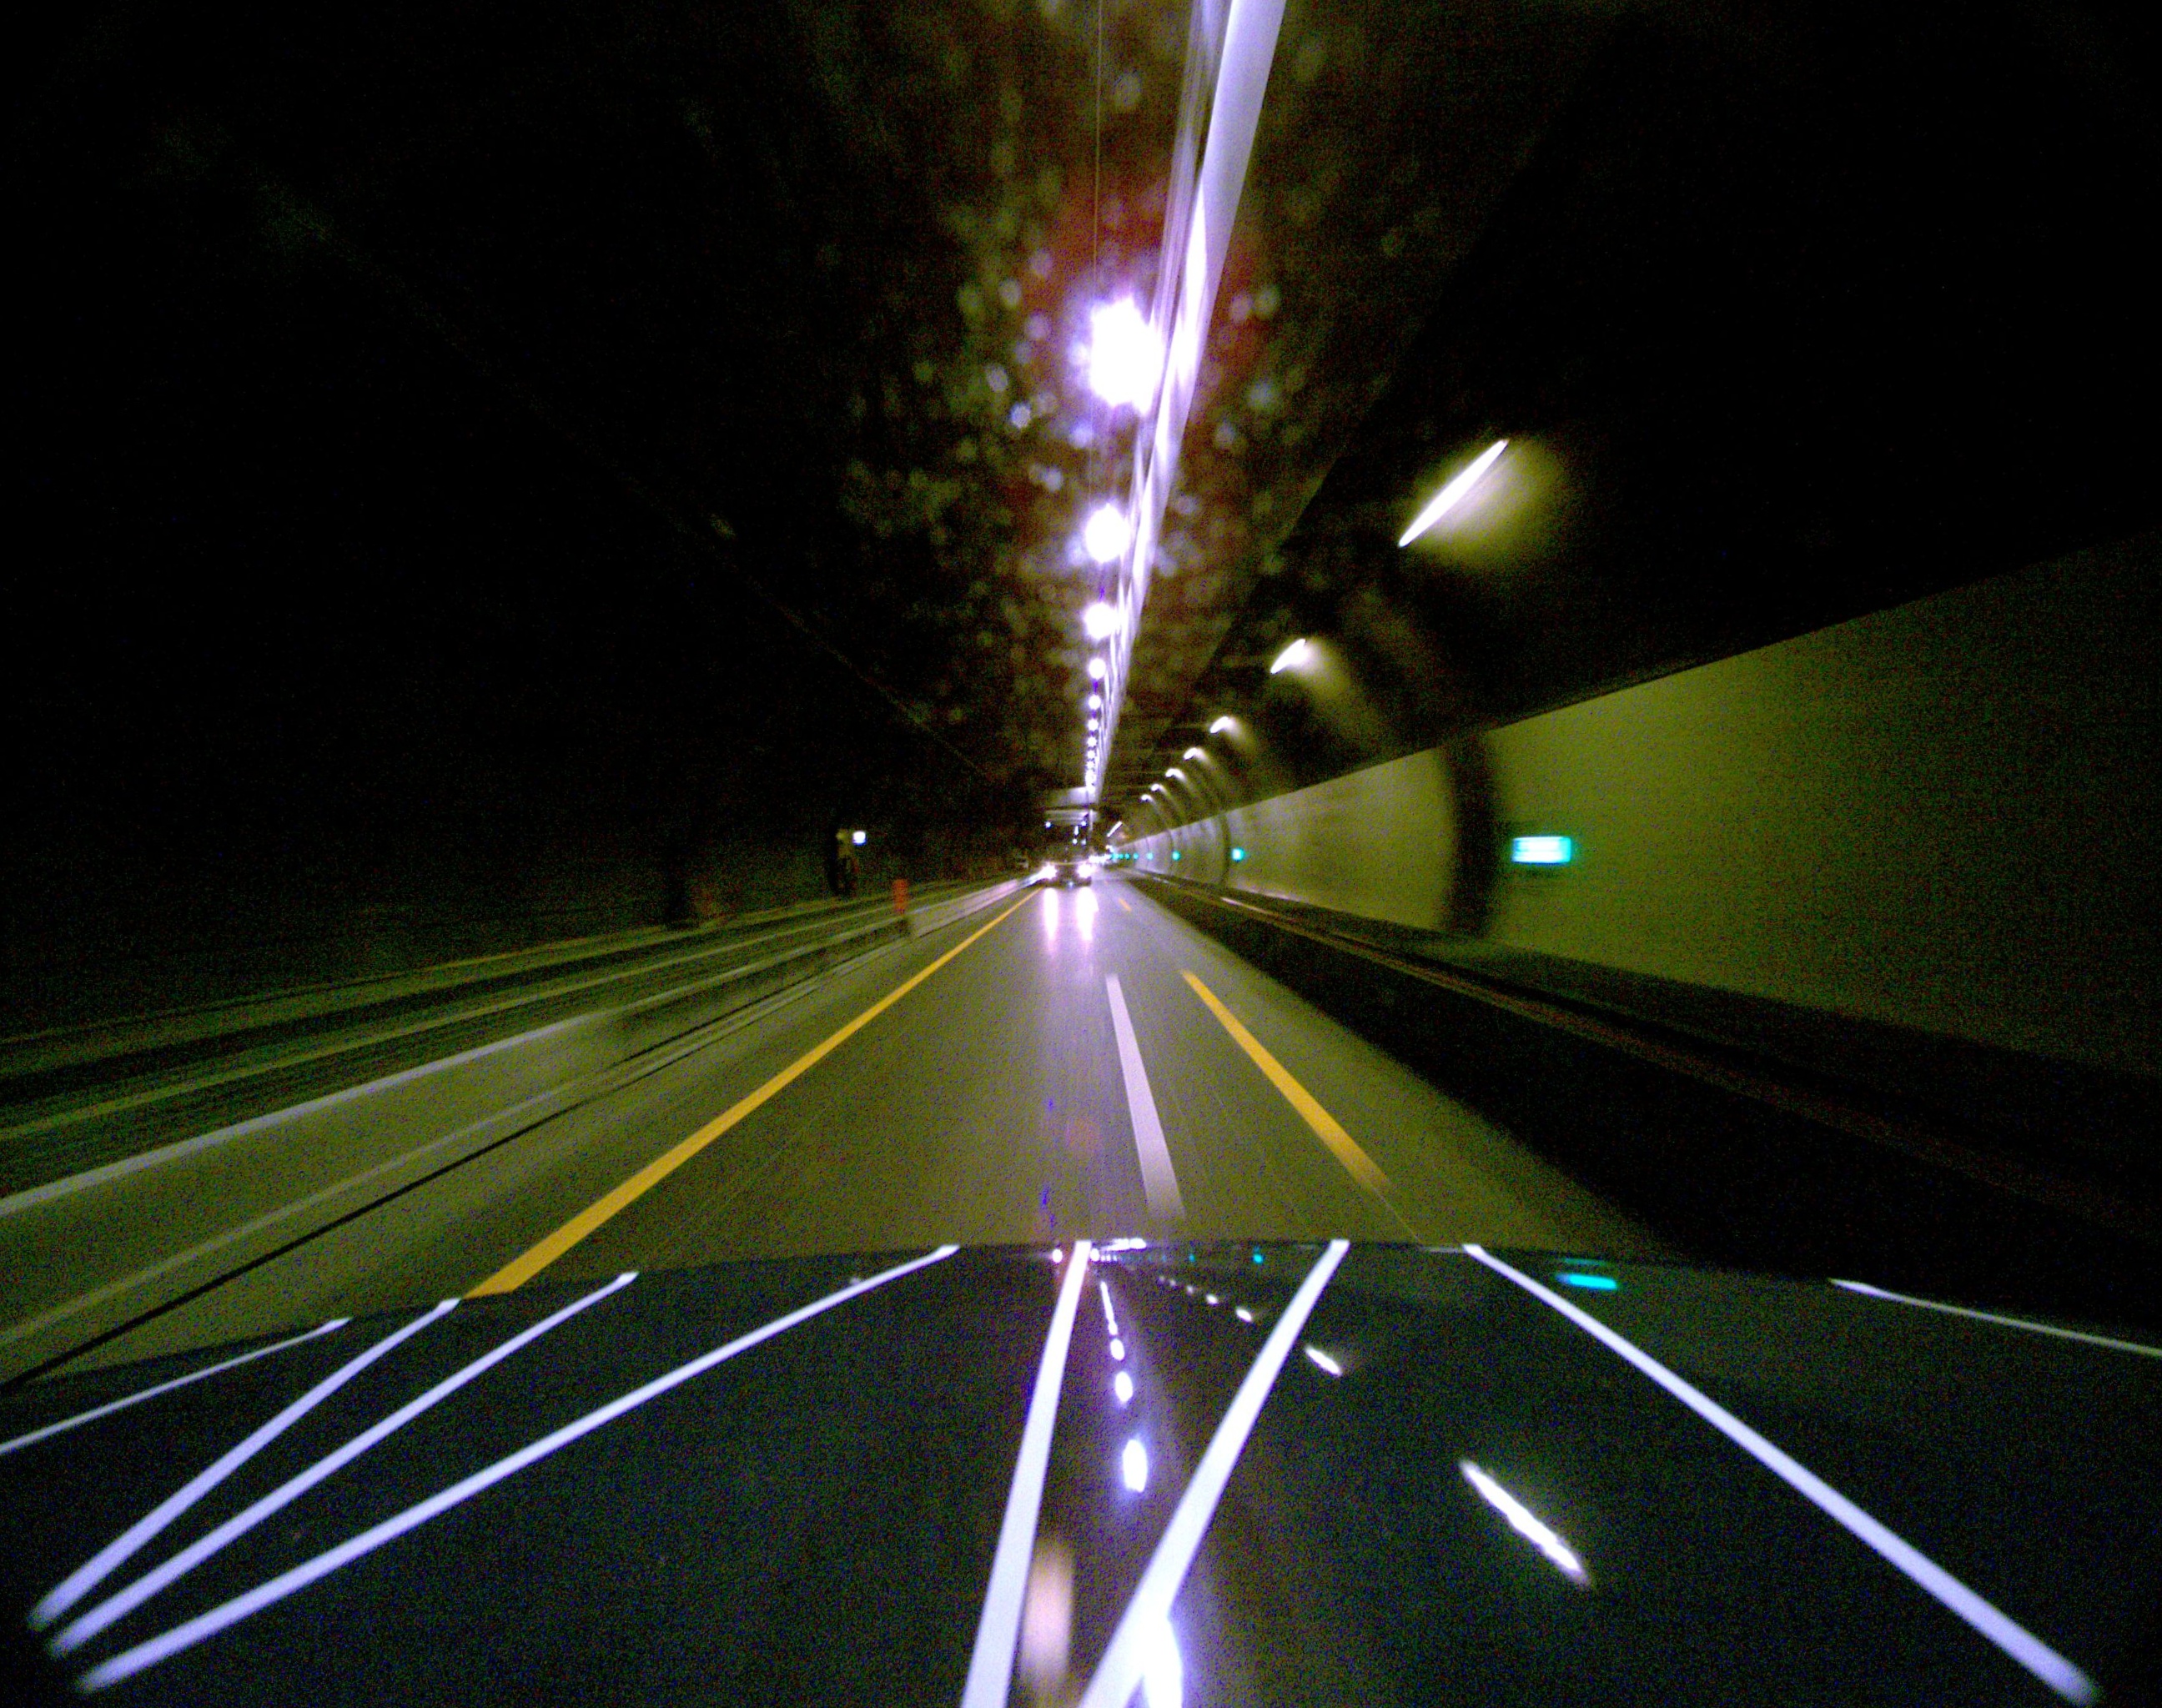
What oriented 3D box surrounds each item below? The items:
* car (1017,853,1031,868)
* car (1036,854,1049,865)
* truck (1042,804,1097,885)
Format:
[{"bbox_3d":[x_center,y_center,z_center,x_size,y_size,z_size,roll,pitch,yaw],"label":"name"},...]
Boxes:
[{"bbox_3d":[-7.170,0.851,96.138,1.756,1.834,4.644,-1,0,-3],"label":"car"},{"bbox_3d":[-6.366,0.902,126.175,1.832,1.848,5.441,-2,0,-1],"label":"car"},{"bbox_3d":[-0.516,-0.504,43.469,2.769,4.198,7.977,-1,0,1],"label":"truck"}]
